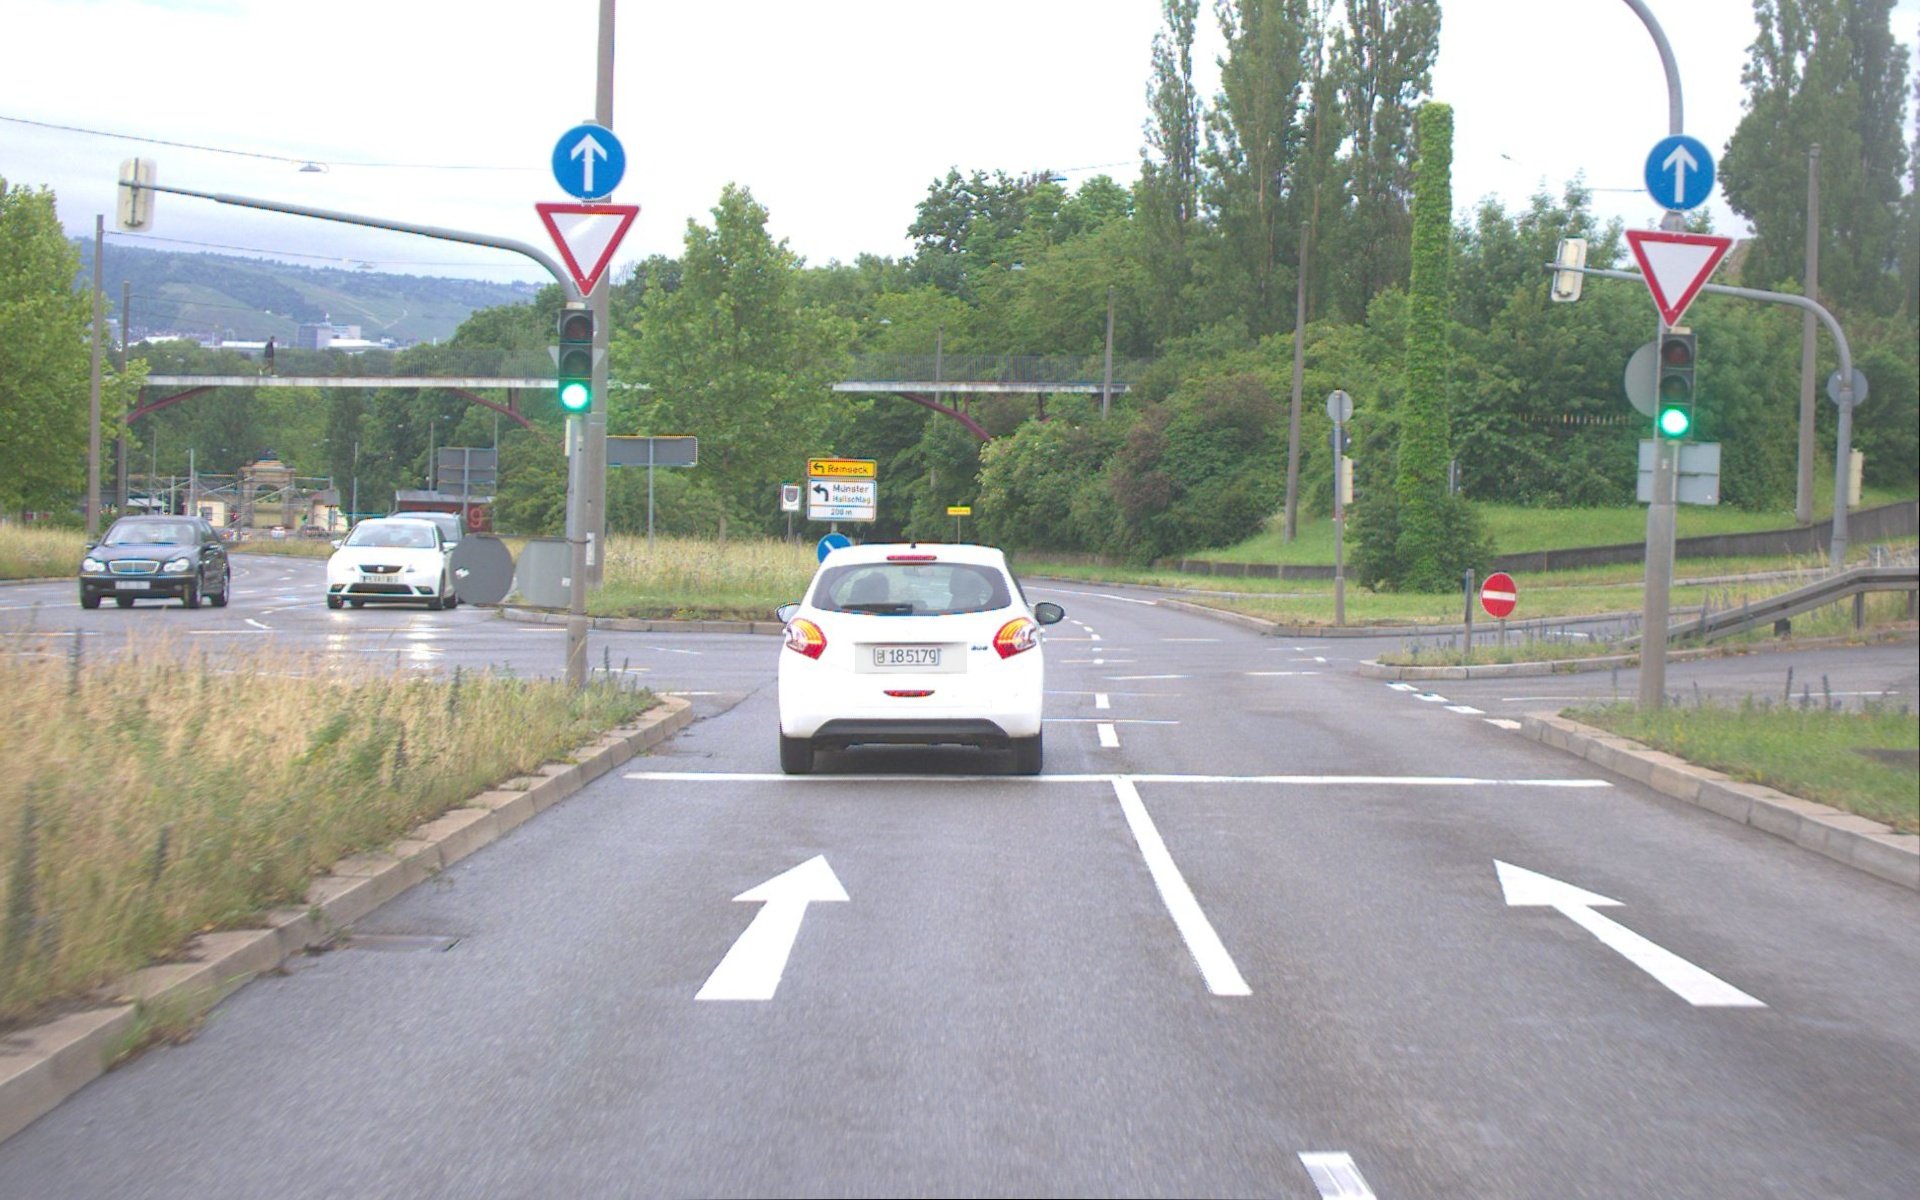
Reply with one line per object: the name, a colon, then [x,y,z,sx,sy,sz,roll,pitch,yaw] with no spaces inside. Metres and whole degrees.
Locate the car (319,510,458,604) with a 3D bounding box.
car: [-8.995,-0.667,54.357,1.737,1.368,4.001,2,0,-4]

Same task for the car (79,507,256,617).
car: [-11.920,-0.554,51.911,1.895,1.532,4.000,2,0,-3]

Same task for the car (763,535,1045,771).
car: [-0.300,0.315,22.956,1.708,1.435,3.690,1,0,2]
